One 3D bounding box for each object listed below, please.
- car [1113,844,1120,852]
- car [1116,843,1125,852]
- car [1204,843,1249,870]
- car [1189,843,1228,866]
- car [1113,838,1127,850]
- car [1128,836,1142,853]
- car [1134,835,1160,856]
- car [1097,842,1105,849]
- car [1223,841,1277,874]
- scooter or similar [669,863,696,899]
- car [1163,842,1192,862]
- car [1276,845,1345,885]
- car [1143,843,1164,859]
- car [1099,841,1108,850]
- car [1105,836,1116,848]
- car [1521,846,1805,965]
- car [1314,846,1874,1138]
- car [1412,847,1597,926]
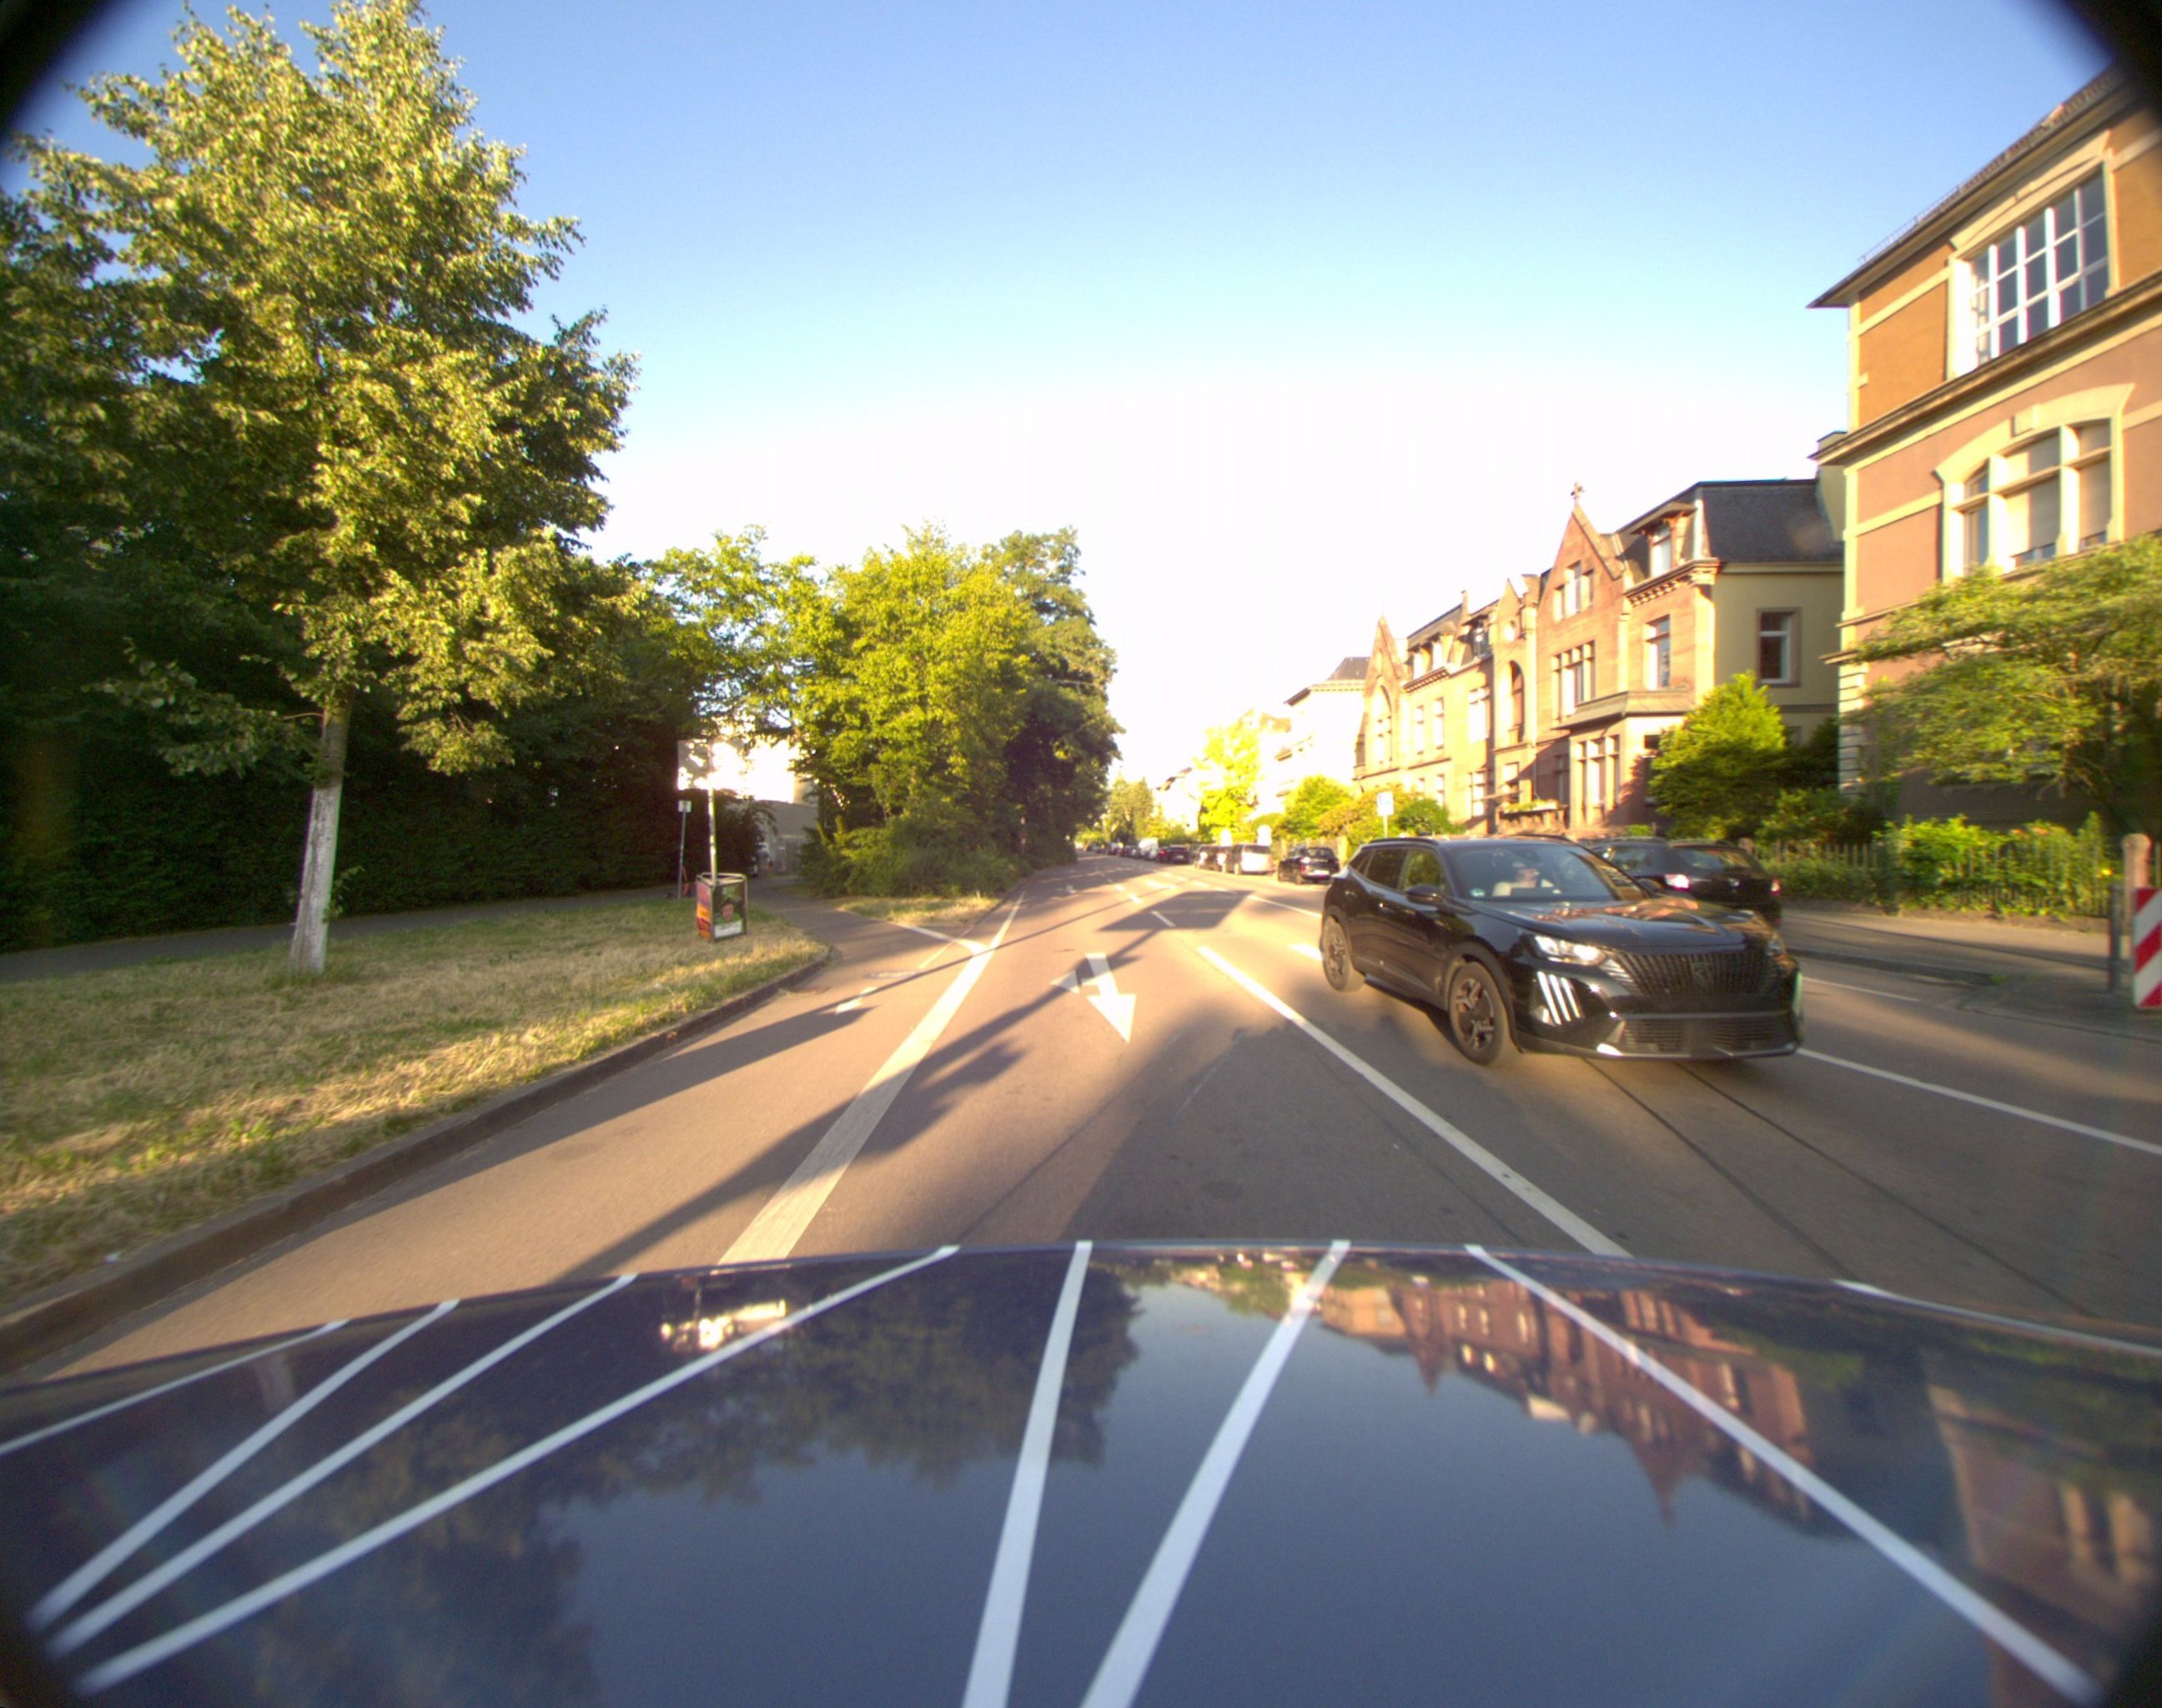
[{"bbox_3d":[6.139,-1.034,131.537,1.220,1.430,2.514,0,1,-1],"label":"car"},{"bbox_3d":[6.310,-1.092,121.433,1.220,1.430,2.514,0,1,-1],"label":"car"},{"bbox_3d":[8.280,0.110,43.521,1.716,1.442,3.721,0,1,-2],"label":"car"},{"bbox_3d":[8.061,0.014,48.298,1.716,1.442,3.721,0,1,-2],"label":"car"},{"bbox_3d":[6.951,-1.770,137.009,2.203,2.201,4.526,0,1,-1],"label":"car"},{"bbox_3d":[7.013,-1.225,98.914,1.571,2.253,3.799,0,1,-1],"label":"car"},{"bbox_3d":[7.488,-0.965,86.634,2.231,2.355,5.877,0,1,-2],"label":"car"},{"bbox_3d":[5.415,-2.275,209.892,1.999,2.002,3.999,-1,1,0],"label":"car"},{"bbox_3d":[8.477,0.125,38.418,1.716,1.579,3.752,0,1,-2],"label":"car"},{"bbox_3d":[-12.224,0.825,23.330,0.194,1.079,0.837,-2,0,14],"label":"scooter or similar"},{"bbox_3d":[7.894,-0.211,62.286,1.880,1.596,3.722,0,1,0],"label":"car"},{"bbox_3d":[8.720,0.361,29.100,1.631,1.437,3.566,0,1,1],"label":"car"},{"bbox_3d":[7.620,-0.337,79.840,1.716,1.596,3.852,0,1,-1],"label":"car"},{"bbox_3d":[5.294,-2.039,178.675,1.998,2.002,3.999,-3,1,0],"label":"car"},{"bbox_3d":[6.227,-2.545,162.073,1.999,2.443,5.578,-1,1,-2],"label":"car"},{"bbox_3d":[8.852,0.671,12.019,1.631,1.526,3.722,2,1,1],"label":"car"},{"bbox_3d":[3.361,0.714,6.052,1.682,1.527,3.999,-1,1,-1],"label":"car"},{"bbox_3d":[9.054,0.598,16.727,1.608,1.435,4.432,2,1,1],"label":"car"}]
